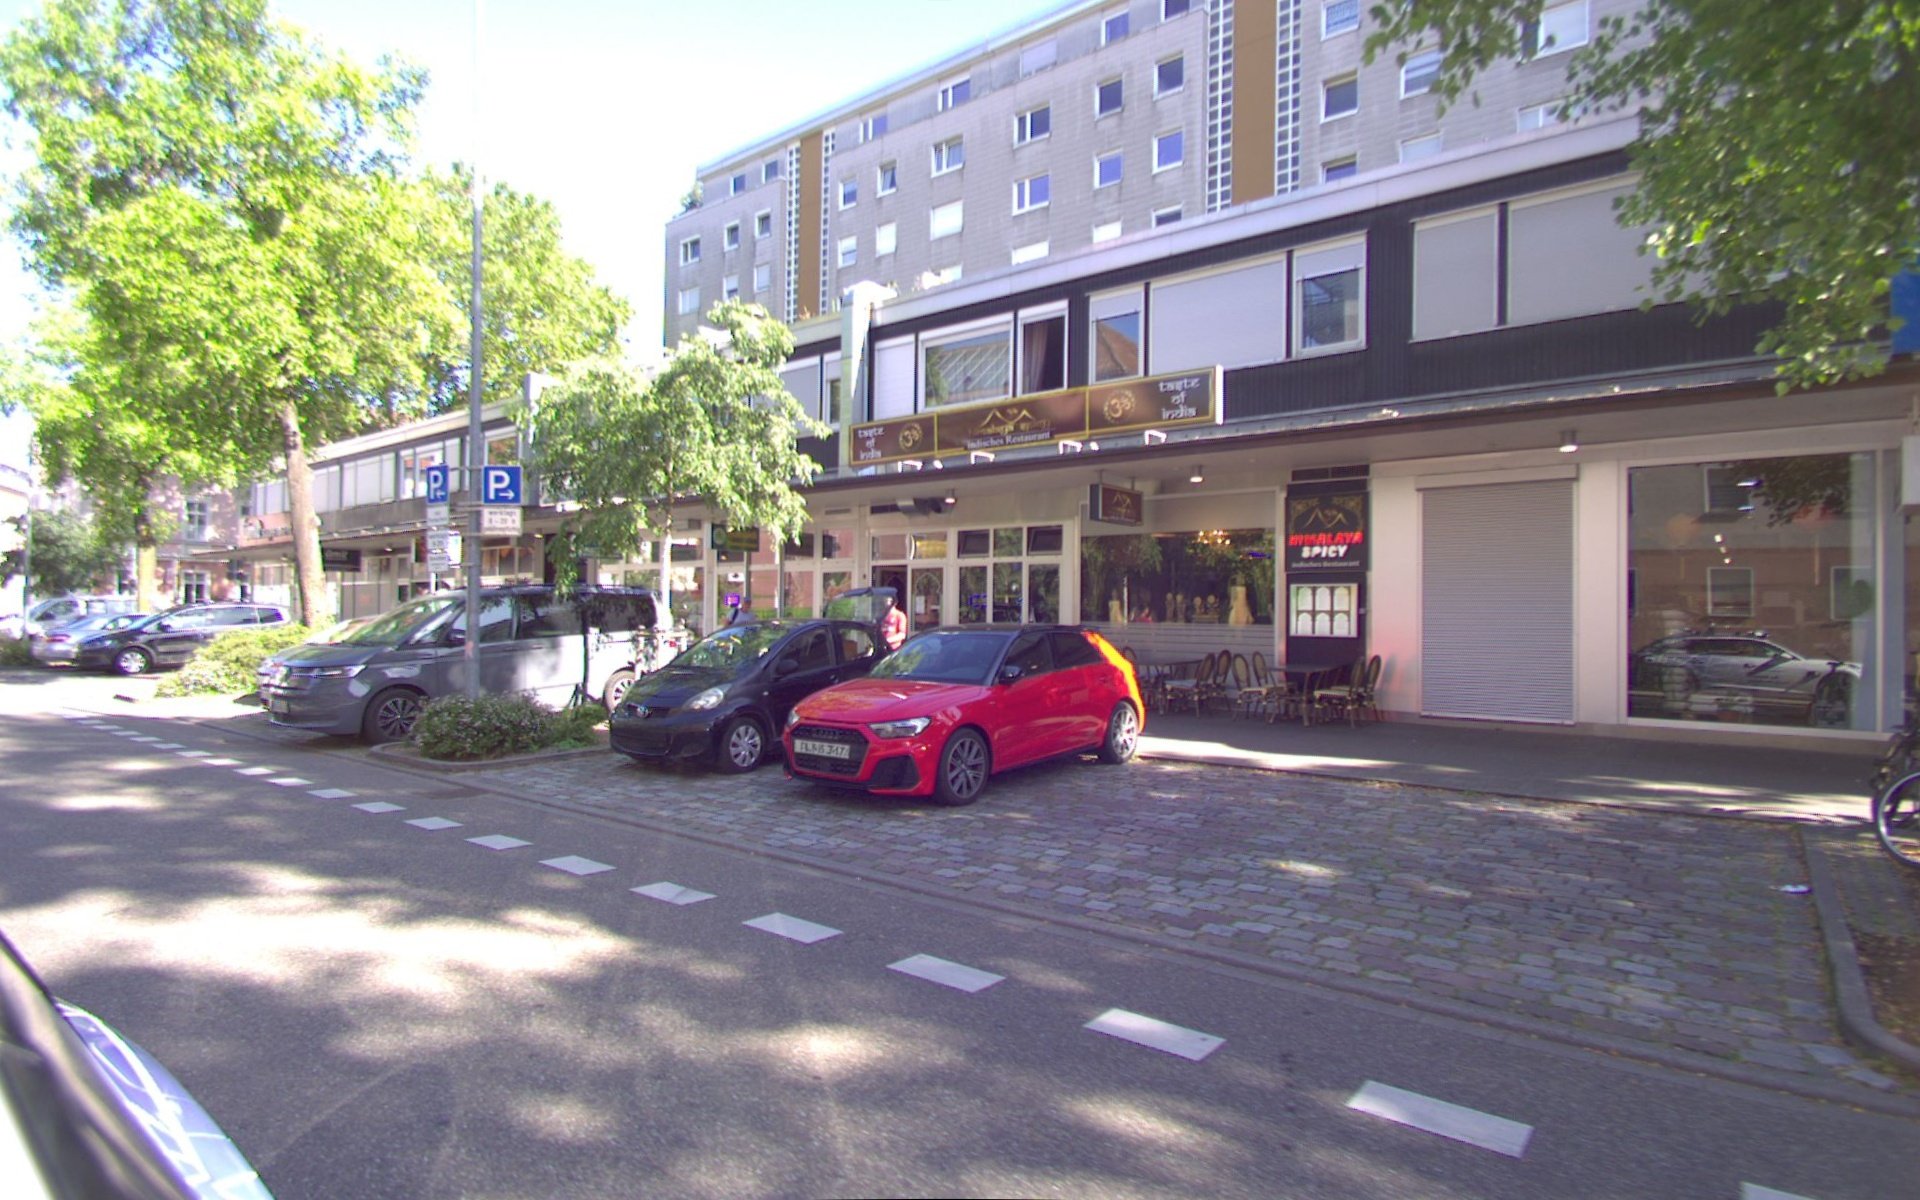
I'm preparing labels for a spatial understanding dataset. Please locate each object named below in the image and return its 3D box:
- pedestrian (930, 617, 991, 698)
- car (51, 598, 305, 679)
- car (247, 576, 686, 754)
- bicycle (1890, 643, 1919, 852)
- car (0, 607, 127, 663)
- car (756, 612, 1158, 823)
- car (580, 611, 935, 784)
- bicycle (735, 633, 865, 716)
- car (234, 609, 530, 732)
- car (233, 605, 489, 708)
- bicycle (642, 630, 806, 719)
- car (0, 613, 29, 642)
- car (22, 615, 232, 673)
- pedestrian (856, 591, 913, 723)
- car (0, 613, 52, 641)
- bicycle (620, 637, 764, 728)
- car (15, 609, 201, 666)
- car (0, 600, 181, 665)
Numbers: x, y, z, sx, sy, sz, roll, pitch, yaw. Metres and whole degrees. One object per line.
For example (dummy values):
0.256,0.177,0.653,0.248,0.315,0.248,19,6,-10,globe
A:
0.016,0.906,16.303,0.746,1.255,0.643,-1,-2,39,pedestrian
-19.438,0.877,25.366,1.871,1.790,4.725,-1,0,37,car
-6.336,0.695,13.579,1.871,1.953,4.980,-1,0,40,car
6.283,0.879,6.341,0.622,1.125,1.701,-1,1,41,bicycle
-31.186,1.166,34.563,1.755,1.805,3.949,-1,-1,37,car
0.171,0.871,9.389,1.707,1.461,3.880,-1,0,38,car
-1.990,0.878,10.844,1.609,1.461,3.634,-1,0,35,car
-2.178,0.995,13.995,0.614,1.047,1.844,-1,-2,38,bicycle
-8.612,0.948,15.296,1.659,1.566,3.524,-1,0,38,car
-10.478,0.906,17.887,1.671,1.573,3.551,-1,0,39,car
-3.351,1.024,14.554,0.801,1.176,2.211,-1,-2,44,bicycle
-55.545,1.573,58.378,1.645,1.650,4.061,1,-2,-27,car
-21.729,1.107,26.533,1.756,1.409,3.950,-1,-1,36,car
-1.024,0.754,13.667,0.571,1.725,0.637,1,-1,-23,pedestrian
-57.928,1.636,62.709,1.482,1.674,4.013,1,-2,-27,car
-3.382,1.007,12.937,0.613,1.047,1.847,0,-1,33,bicycle
-25.421,1.066,30.324,1.734,1.431,3.951,-1,2,37,car
-28.935,1.007,33.270,1.906,1.984,4.937,-1,0,37,car
